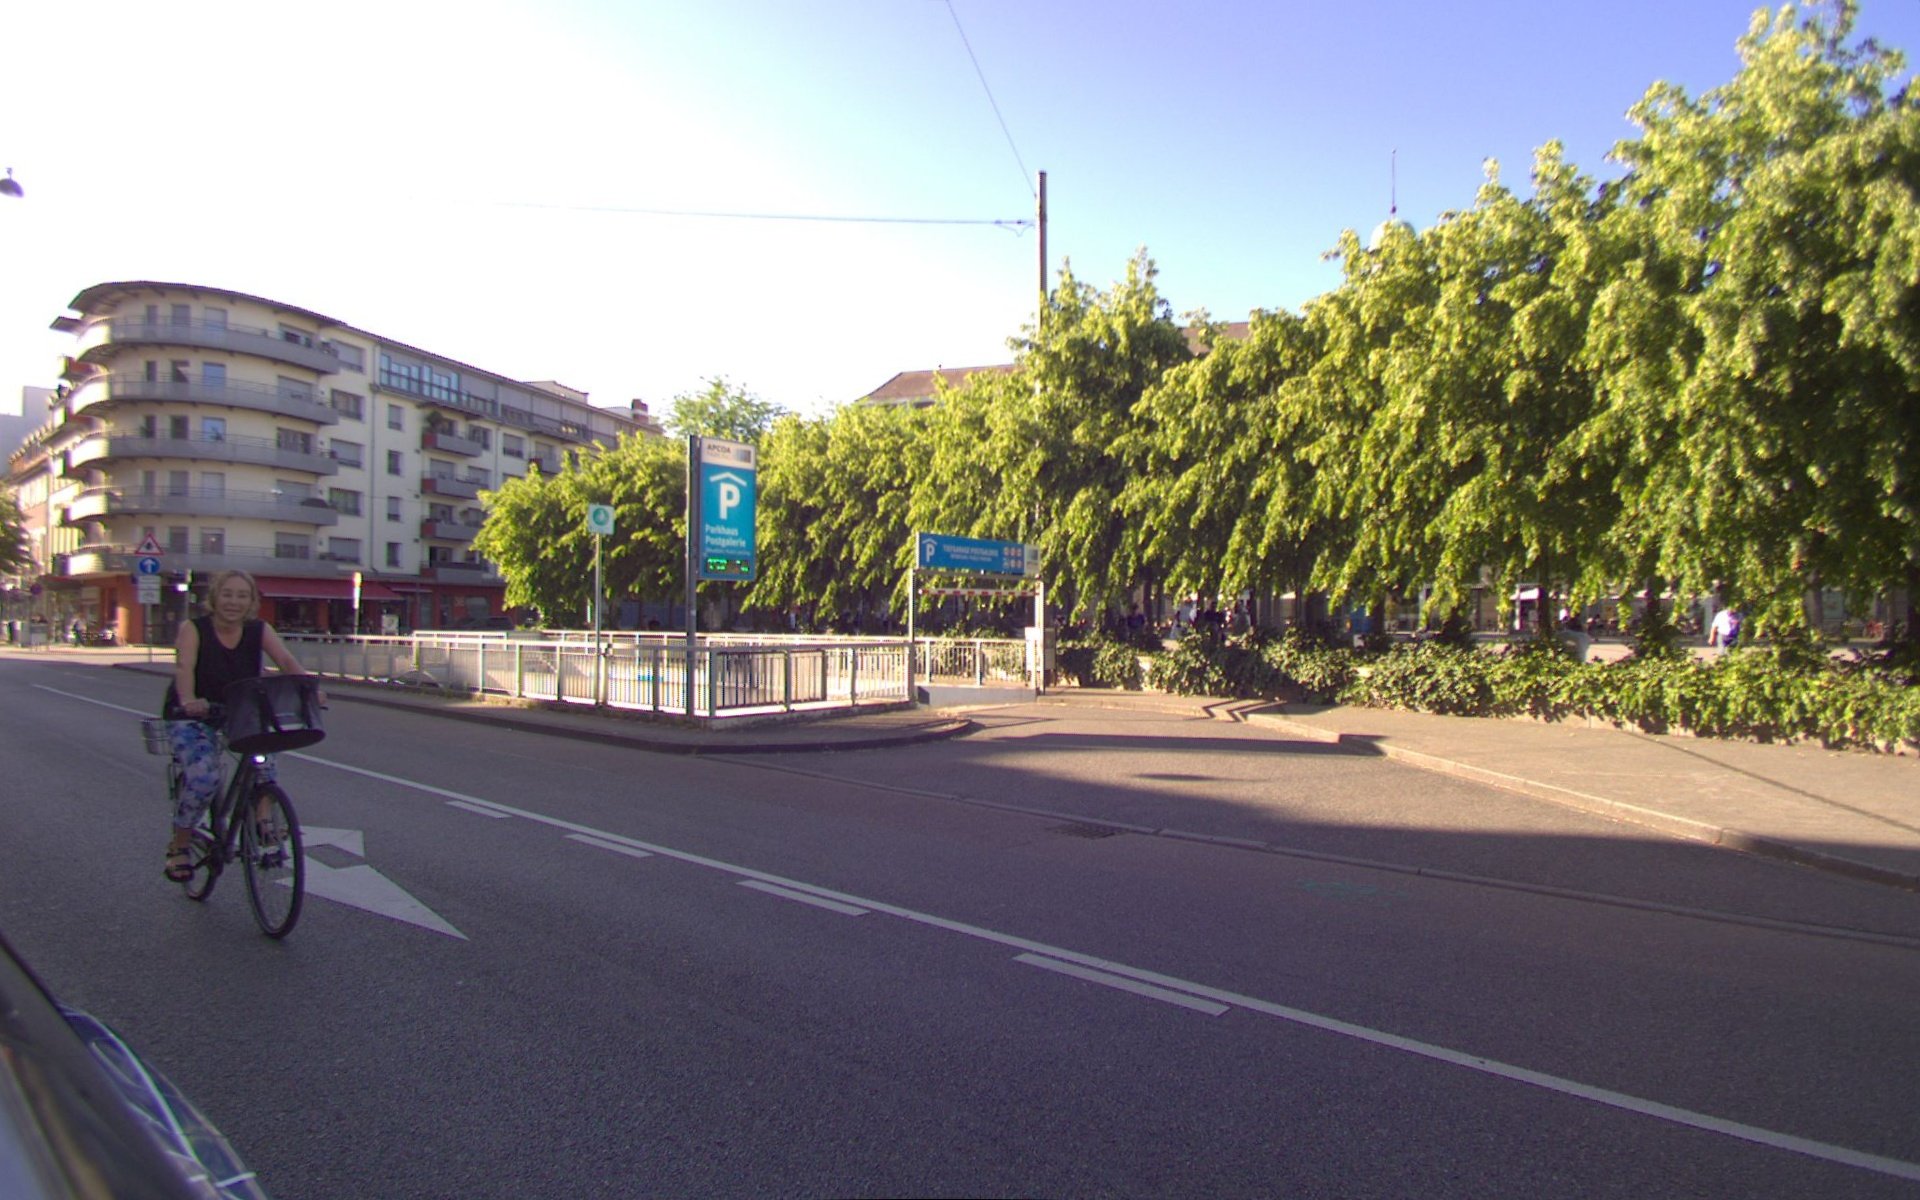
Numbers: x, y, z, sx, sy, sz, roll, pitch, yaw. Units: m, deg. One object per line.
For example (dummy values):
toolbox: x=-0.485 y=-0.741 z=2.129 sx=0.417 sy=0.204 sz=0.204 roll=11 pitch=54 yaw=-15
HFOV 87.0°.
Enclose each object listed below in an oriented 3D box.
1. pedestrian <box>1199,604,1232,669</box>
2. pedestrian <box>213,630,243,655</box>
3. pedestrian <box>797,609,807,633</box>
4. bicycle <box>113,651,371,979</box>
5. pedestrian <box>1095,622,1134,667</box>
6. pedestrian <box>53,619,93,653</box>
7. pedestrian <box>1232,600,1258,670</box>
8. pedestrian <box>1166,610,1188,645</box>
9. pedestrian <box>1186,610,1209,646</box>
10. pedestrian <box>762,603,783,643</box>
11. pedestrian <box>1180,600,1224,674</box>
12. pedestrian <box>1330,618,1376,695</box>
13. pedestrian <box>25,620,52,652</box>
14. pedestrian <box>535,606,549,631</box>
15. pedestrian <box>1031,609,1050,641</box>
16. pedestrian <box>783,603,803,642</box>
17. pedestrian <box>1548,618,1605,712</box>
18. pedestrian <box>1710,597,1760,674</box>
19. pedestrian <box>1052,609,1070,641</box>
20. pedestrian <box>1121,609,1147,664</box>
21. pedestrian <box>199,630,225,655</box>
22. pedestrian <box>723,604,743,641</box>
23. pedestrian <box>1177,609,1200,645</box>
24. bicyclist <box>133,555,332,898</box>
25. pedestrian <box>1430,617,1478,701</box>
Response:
pedestrian: x=6.031 y=0.850 z=23.840 sx=0.688 sy=1.511 sz=0.680 roll=-1 pitch=0 yaw=19
pedestrian: x=-36.827 y=2.124 z=50.905 sx=0.827 sy=1.207 sz=0.931 roll=-1 pitch=0 yaw=16
pedestrian: x=-10.726 y=1.433 z=68.686 sx=0.489 sy=1.591 sz=0.491 roll=-1 pitch=0 yaw=16
bicycle: x=-3.573 y=0.907 z=4.955 sx=2.000 sy=1.232 sz=0.621 roll=-1 pitch=0 yaw=43
pedestrian: x=3.862 y=1.094 z=25.267 sx=0.682 sy=1.079 sz=0.686 roll=-1 pitch=0 yaw=-29
pedestrian: x=-44.166 y=1.782 z=50.392 sx=1.266 sy=1.678 sz=1.129 roll=-1 pitch=0 yaw=27
pedestrian: x=6.610 y=0.801 z=23.433 sx=0.522 sy=1.594 sz=0.680 roll=-1 pitch=0 yaw=19
pedestrian: x=9.648 y=1.201 z=44.953 sx=0.672 sy=1.535 sz=0.696 roll=-1 pitch=0 yaw=-20
pedestrian: x=10.191 y=1.194 z=43.497 sx=0.672 sy=1.536 sz=0.696 roll=-1 pitch=0 yaw=-19
pedestrian: x=-9.036 y=1.102 z=48.868 sx=0.681 sy=1.877 sz=0.741 roll=-1 pitch=0 yaw=27
pedestrian: x=5.383 y=0.809 z=22.539 sx=0.682 sy=1.609 sz=0.686 roll=-1 pitch=0 yaw=-13
pedestrian: x=7.515 y=1.062 z=19.353 sx=0.622 sy=1.409 sz=0.644 roll=-1 pitch=0 yaw=44
pedestrian: x=-52.953 y=2.053 z=58.128 sx=0.962 sy=1.762 sz=1.047 roll=-1 pitch=0 yaw=41
pedestrian: x=-31.425 y=1.401 z=76.156 sx=0.684 sy=1.857 sz=0.737 roll=-1 pitch=0 yaw=41
pedestrian: x=3.569 y=1.120 z=44.861 sx=0.752 sy=1.385 sz=0.684 roll=-1 pitch=0 yaw=1
pedestrian: x=-8.224 y=1.101 z=49.824 sx=0.681 sy=1.857 sz=0.741 roll=-1 pitch=0 yaw=27
pedestrian: x=9.798 y=1.013 z=16.097 sx=0.611 sy=1.447 sz=0.588 roll=-1 pitch=0 yaw=14
pedestrian: x=15.737 y=0.712 z=20.568 sx=0.691 sy=1.532 sz=0.677 roll=-1 pitch=0 yaw=30
pedestrian: x=4.464 y=1.108 z=44.824 sx=0.684 sy=1.385 sz=0.684 roll=-1 pitch=0 yaw=1
pedestrian: x=4.482 y=0.933 z=26.012 sx=0.545 sy=1.385 sz=0.680 roll=-1 pitch=0 yaw=19
pedestrian: x=-37.647 y=2.135 z=50.949 sx=0.882 sy=1.207 sz=0.772 roll=-1 pitch=0 yaw=30
pedestrian: x=-11.292 y=1.117 z=50.286 sx=0.679 sy=1.857 sz=0.743 roll=-1 pitch=0 yaw=19
pedestrian: x=9.994 y=1.187 z=44.298 sx=0.672 sy=1.542 sz=0.696 roll=-1 pitch=0 yaw=-22
bicyclist: x=-3.576 y=0.553 z=4.962 sx=0.958 sy=1.495 sz=0.599 roll=-1 pitch=0 yaw=42
pedestrian: x=8.742 y=1.027 z=17.906 sx=0.621 sy=1.447 sz=0.645 roll=-1 pitch=0 yaw=39
